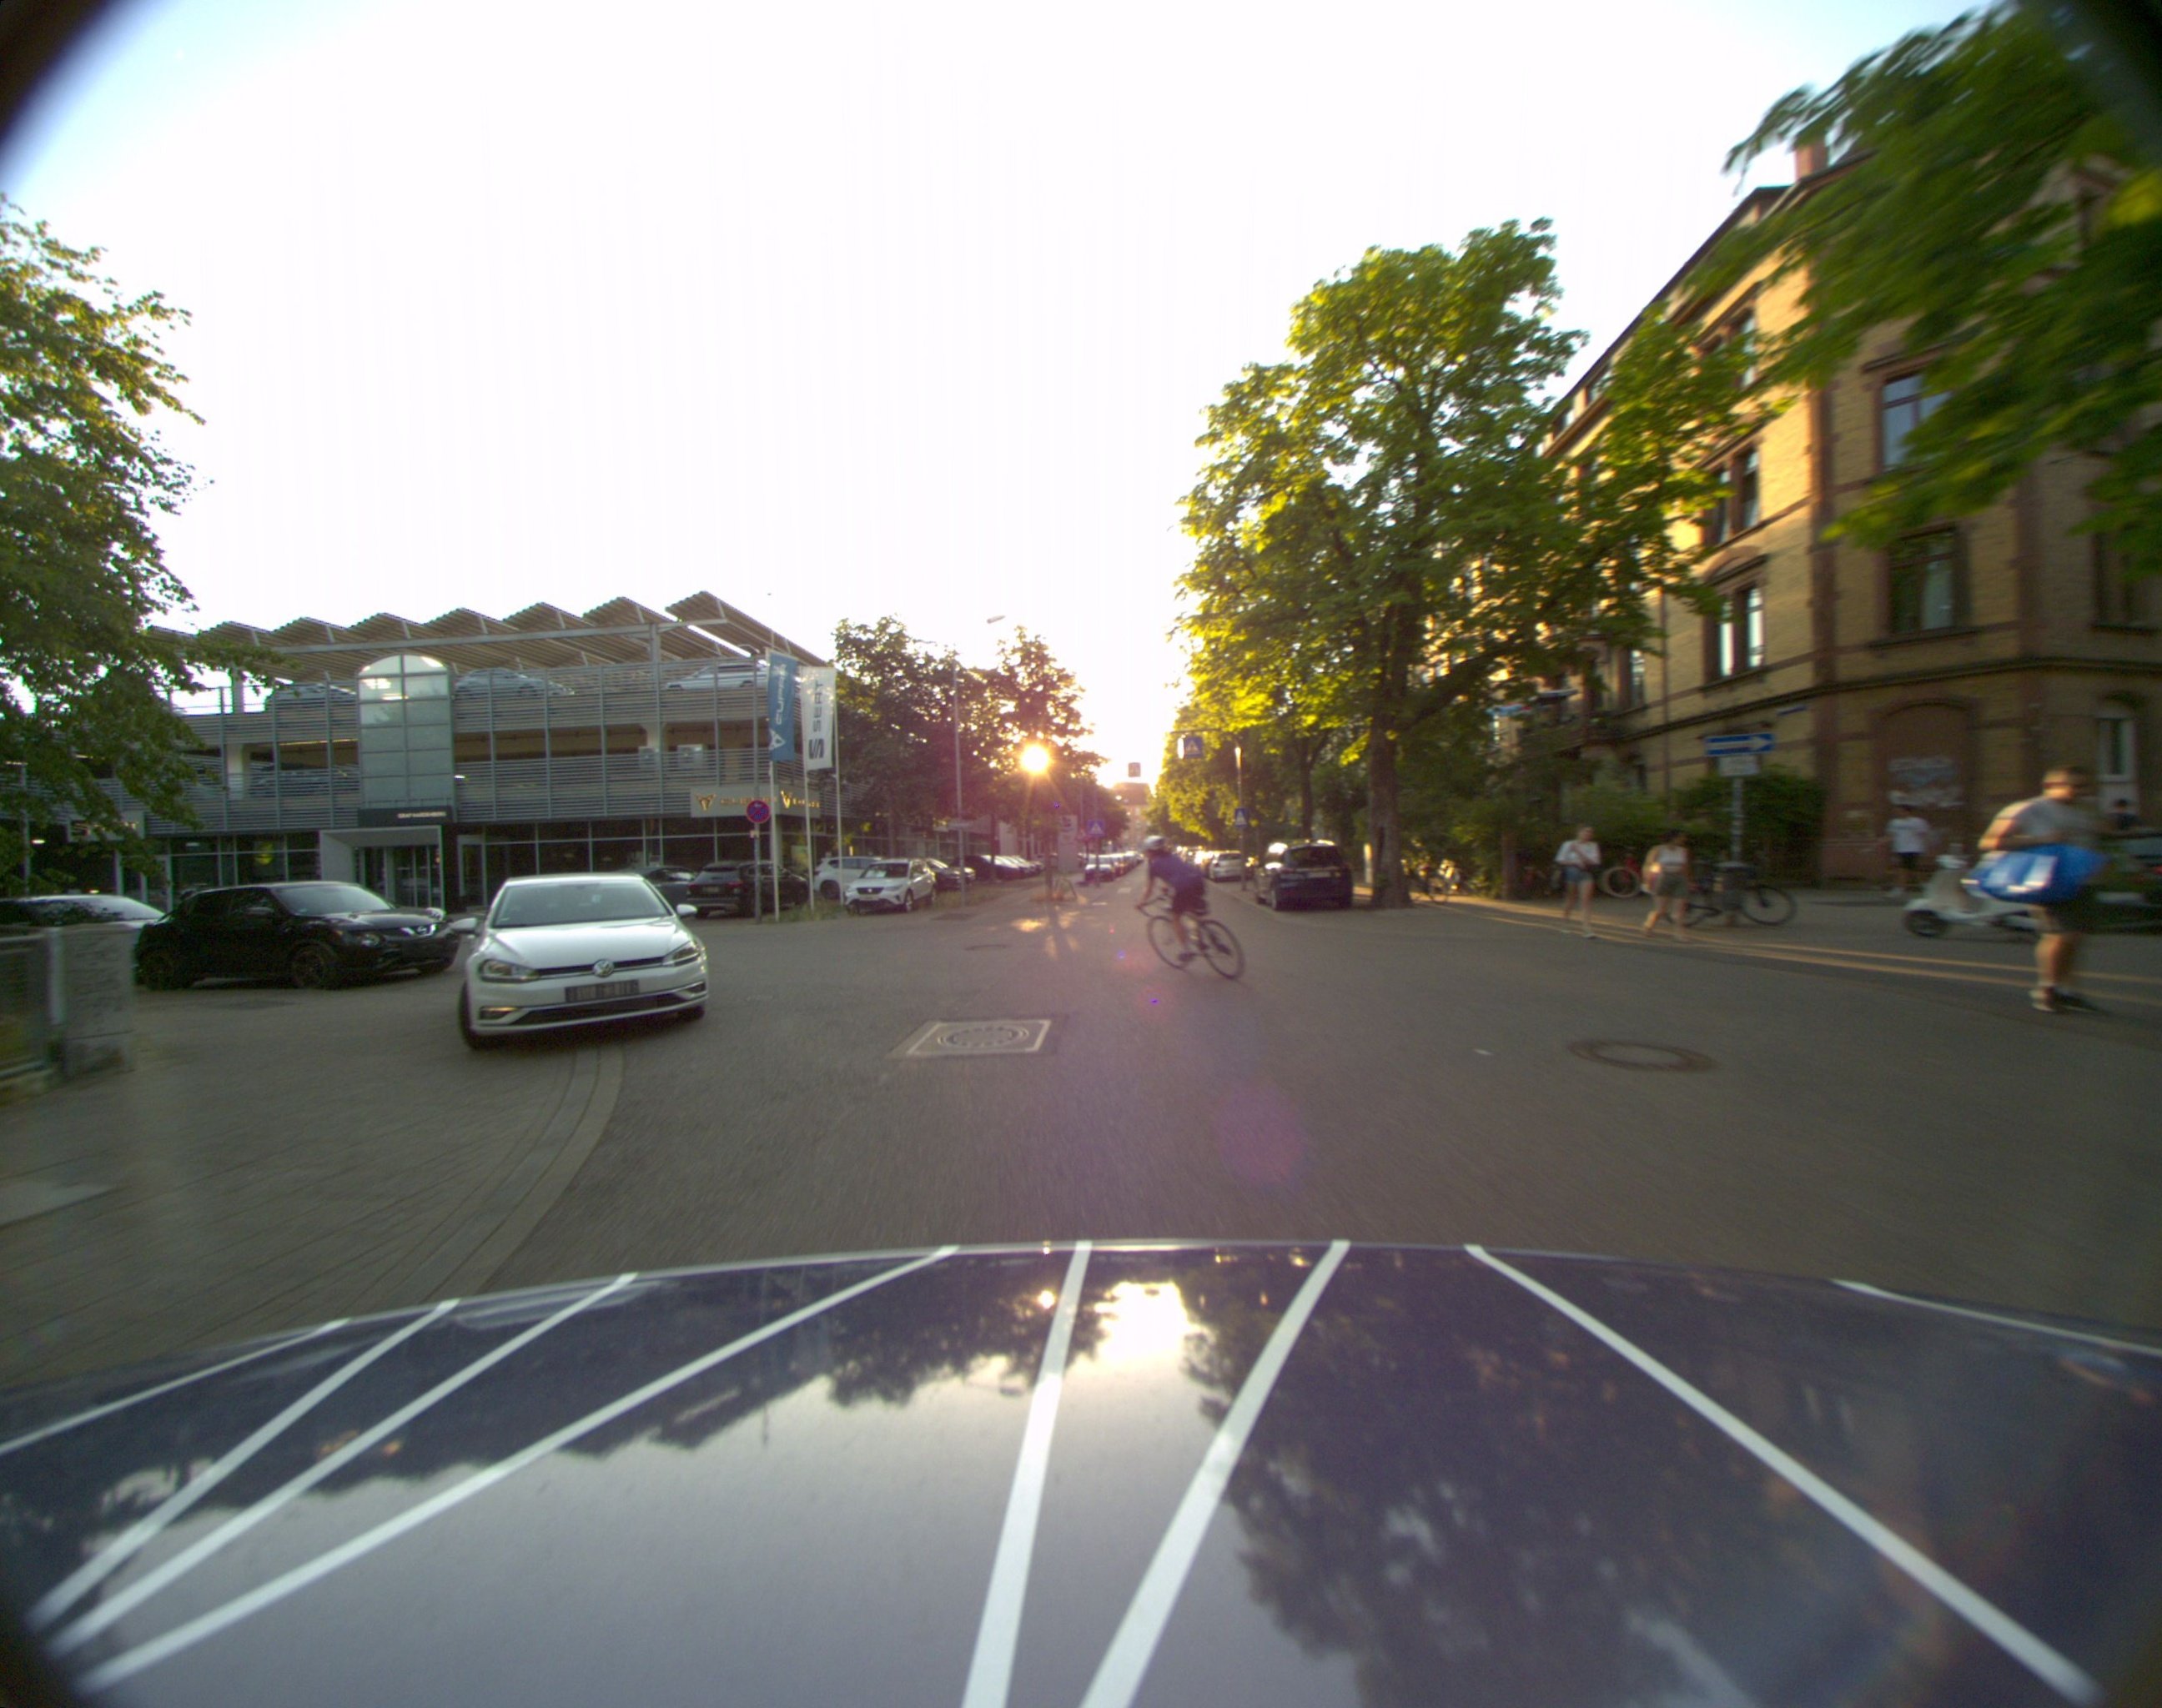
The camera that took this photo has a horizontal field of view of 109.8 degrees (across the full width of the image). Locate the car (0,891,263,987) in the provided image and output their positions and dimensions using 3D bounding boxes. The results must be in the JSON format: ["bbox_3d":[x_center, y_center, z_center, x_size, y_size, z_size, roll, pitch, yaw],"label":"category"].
[{"bbox_3d":[-16.598,1.413,12.977,3.780,1.426,1.634,-2,-1,7],"label":"car"}]

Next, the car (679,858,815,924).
[{"bbox_3d":[-9.731,1.014,22.528,1.716,1.596,4.128,-2,1,8],"label":"car"}]

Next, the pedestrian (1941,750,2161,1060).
[{"bbox_3d":[7.212,0.323,5.507,0.869,2.002,1.008,-2,1,-14],"label":"pedestrian"}]

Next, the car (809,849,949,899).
[{"bbox_3d":[-7.446,0.728,28.226,4.587,1.634,1.873,-2,0,5],"label":"car"}]

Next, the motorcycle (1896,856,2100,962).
[{"bbox_3d":[11.856,0.667,9.929,0.472,1.249,1.862,-2,-1,3],"label":"motorcycle"}]

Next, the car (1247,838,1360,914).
[{"bbox_3d":[5.614,0.512,19.741,1.870,1.677,4.593,-3,0,5],"label":"car"}]

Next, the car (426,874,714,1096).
[{"bbox_3d":[-5.138,1.006,7.622,1.816,1.492,4.162,-3,0,-37],"label":"car"}]

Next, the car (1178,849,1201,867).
[{"bbox_3d":[9.344,0.319,65.822,1.616,1.433,4.106,-3,0,4],"label":"car"}]

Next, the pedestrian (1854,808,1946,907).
[{"bbox_3d":[15.720,0.044,14.610,0.925,1.814,0.780,-4,4,-5],"label":"pedestrian"}]

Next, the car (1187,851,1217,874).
[{"bbox_3d":[8.380,0.556,52.862,1.616,1.433,4.106,-3,0,4],"label":"car"}]

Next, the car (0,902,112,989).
[{"bbox_3d":[-20.529,1.706,13.975,3.682,1.426,1.634,-2,-1,7],"label":"car"}]

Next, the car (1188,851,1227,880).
[{"bbox_3d":[7.010,0.598,42.412,1.616,1.433,4.312,-3,0,4],"label":"car"}]

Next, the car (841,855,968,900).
[{"bbox_3d":[-7.071,0.934,30.771,4.587,1.607,1.873,-2,0,5],"label":"car"}]

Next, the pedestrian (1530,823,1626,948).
[{"bbox_3d":[7.642,0.453,11.709,0.688,1.824,1.008,-2,1,-20],"label":"pedestrian"}]

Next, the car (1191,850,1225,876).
[{"bbox_3d":[7.989,0.548,48.083,1.616,1.433,4.312,-3,0,4],"label":"car"}]

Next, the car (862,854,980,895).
[{"bbox_3d":[-6.845,0.874,32.855,4.587,1.563,1.873,-2,0,5],"label":"car"}]

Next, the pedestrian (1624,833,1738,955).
[{"bbox_3d":[8.482,0.539,10.776,0.688,1.621,1.051,-2,1,-20],"label":"pedestrian"}]

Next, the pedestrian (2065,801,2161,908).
[{"bbox_3d":[18.276,-0.011,13.424,0.792,1.814,0.687,-3,4,8],"label":"pedestrian"}]

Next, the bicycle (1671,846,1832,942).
[{"bbox_3d":[10.239,0.614,11.658,1.797,1.384,0.518,-2,2,16],"label":"bicycle"}]

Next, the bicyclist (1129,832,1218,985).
[{"bbox_3d":[0.989,0.565,8.244,0.511,1.568,0.821,-1,-1,-32],"label":"bicyclist"}]

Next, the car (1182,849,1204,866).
[{"bbox_3d":[10.379,0.325,70.615,1.616,1.433,4.106,-3,0,4],"label":"car"}]

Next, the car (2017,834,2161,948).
[{"bbox_3d":[15.598,0.431,10.518,4.020,1.450,1.785,-1,-1,-14],"label":"car"}]

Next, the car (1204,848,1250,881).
[{"bbox_3d":[7.195,0.518,37.693,1.616,1.433,3.755,-4,0,3],"label":"car"}]

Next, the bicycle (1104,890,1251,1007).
[{"bbox_3d":[0.986,0.961,8.305,0.540,1.028,1.902,-3,1,-29],"label":"bicycle"}]

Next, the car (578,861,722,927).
[{"bbox_3d":[-12.779,1.130,22.803,1.704,1.583,3.695,-2,2,10],"label":"car"}]

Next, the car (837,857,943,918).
[{"bbox_3d":[-5.469,0.913,22.239,1.766,1.563,3.903,-2,0,5],"label":"car"}]

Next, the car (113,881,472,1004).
[{"bbox_3d":[-11.501,1.266,11.201,3.937,1.536,1.634,-2,1,9],"label":"car"}]
